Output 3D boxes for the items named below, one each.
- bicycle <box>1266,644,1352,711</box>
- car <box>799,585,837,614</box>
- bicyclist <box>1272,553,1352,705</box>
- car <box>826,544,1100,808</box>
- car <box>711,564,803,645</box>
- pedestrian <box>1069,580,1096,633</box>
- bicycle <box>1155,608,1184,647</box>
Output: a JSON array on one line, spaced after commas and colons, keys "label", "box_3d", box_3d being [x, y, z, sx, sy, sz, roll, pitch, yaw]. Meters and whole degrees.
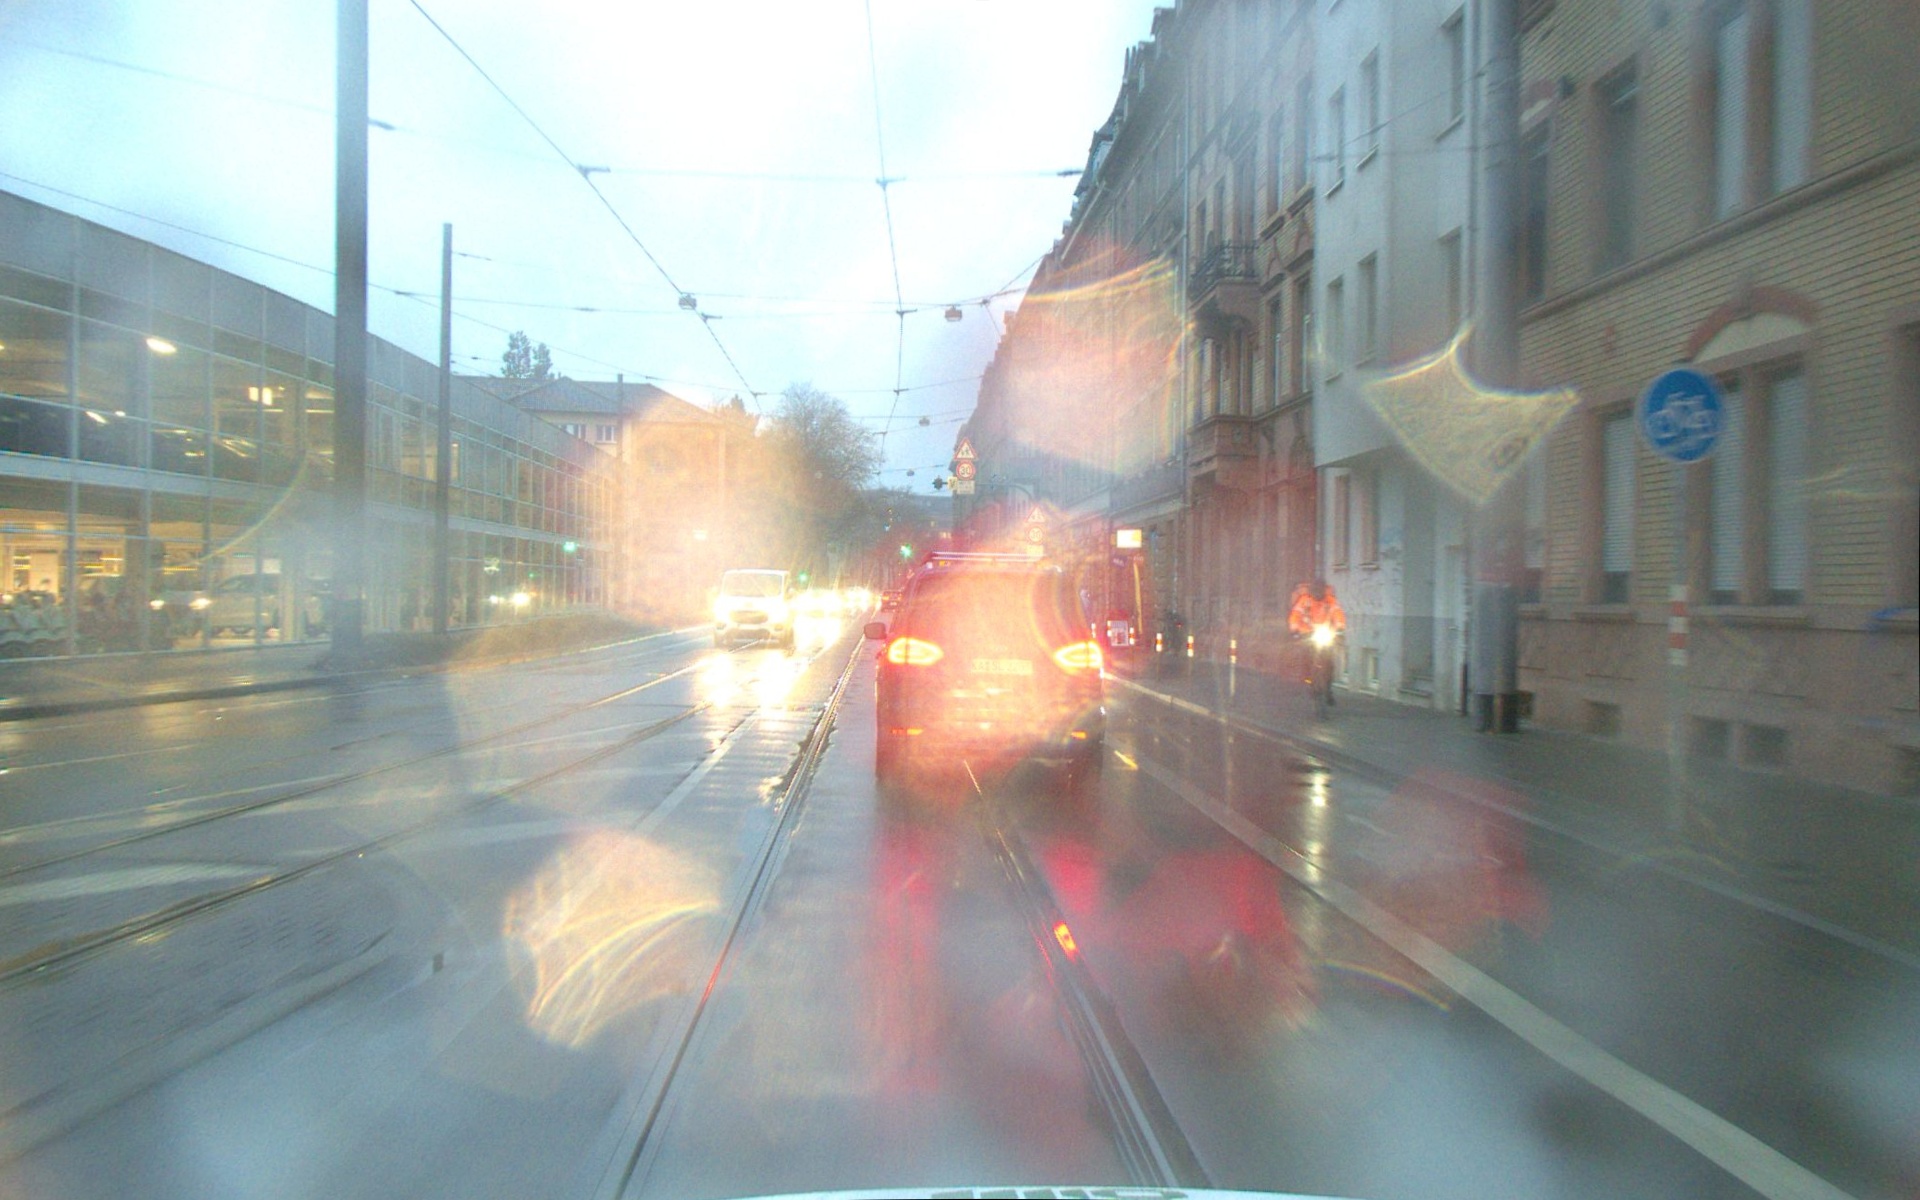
[{"label": "bicycle", "box_3d": [4.471, 0.978, 21.326, 0.596, 0.774, 1.859, 0, 0, -4]}, {"label": "car", "box_3d": [-7.987, -0.031, 93.247, 1.804, 1.606, 4.441, 0, 0, -1]}, {"label": "bicyclist", "box_3d": [4.522, 0.363, 21.302, 0.730, 1.913, 1.110, 0, 0, -5]}, {"label": "car", "box_3d": [0.027, 0.543, 13.917, 1.953, 1.874, 4.000, 1, 0, 0]}, {"label": "car", "box_3d": [-5.450, 0.113, 44.933, 1.953, 2.049, 4.683, 1, 0, -1]}, {"label": "pedestrian", "box_3d": [3.826, 0.192, 51.593, 0.770, 1.625, 0.741, 0, 0, -2]}, {"label": "bicycle", "box_3d": [5.114, 0.663, 40.429, 0.389, 0.927, 1.866, 0, 0, -3]}]
